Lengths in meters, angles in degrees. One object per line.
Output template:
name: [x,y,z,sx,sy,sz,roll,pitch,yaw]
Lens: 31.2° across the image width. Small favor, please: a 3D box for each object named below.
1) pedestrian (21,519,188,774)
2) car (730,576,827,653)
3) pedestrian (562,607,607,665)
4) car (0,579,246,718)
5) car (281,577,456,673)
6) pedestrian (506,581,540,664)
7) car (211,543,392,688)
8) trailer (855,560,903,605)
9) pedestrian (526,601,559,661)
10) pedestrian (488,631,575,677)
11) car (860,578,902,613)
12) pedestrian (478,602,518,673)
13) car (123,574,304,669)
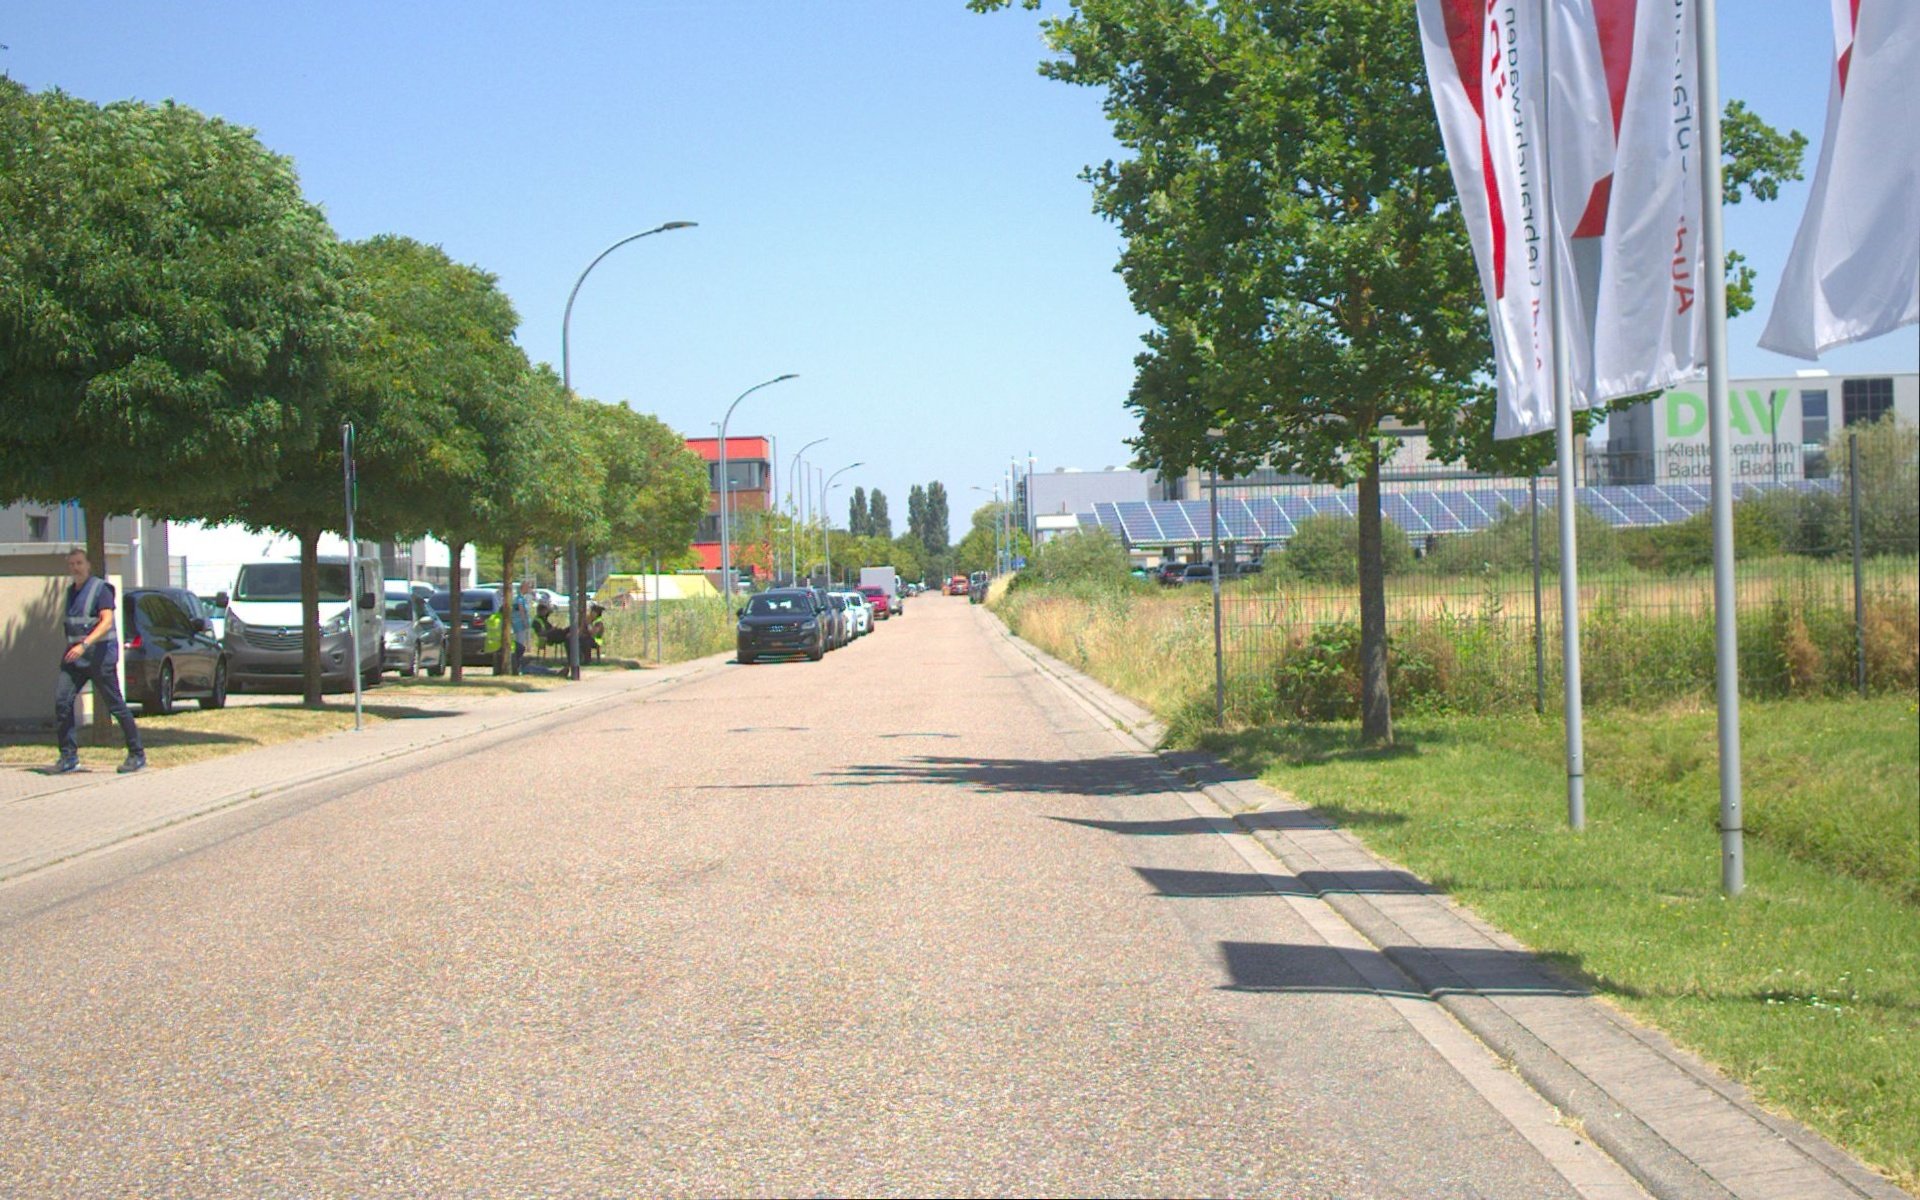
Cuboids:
pedestrian: [-6.740,0.352,27.083,0.842,1.966,0.962,0,0,40]
car: [-3.919,0.290,74.765,1.926,1.562,4.190,-2,1,-1]
pedestrian: [-7.342,0.701,67.318,0.750,1.095,0.646,1,0,4]
car: [-9.626,0.509,39.651,1.765,1.448,4.714,-2,0,0]
car: [-9.617,0.428,56.229,1.927,1.436,4.841,-2,-1,1]
pedestrian: [-8.496,0.435,66.857,0.506,1.590,0.753,1,0,2]
car: [-9.618,0.192,50.563,1.837,2.012,5.126,1,0,-2]
trailer: [-3.961,-0.860,168.846,2.201,2.130,4.285,-2,0,0]
pedestrian: [-8.297,0.613,68.336,0.506,1.187,0.753,1,0,2]
pedestrian: [-7.293,0.920,58.521,1.358,0.746,0.753,1,0,2]
car: [-3.592,-0.212,157.496,1.787,1.515,3.982,-2,0,0]
pedestrian: [-7.622,0.624,56.759,0.479,1.146,0.555,1,-2,10]
car: [-12.177,0.316,56.364,1.927,1.459,4.465,1,0,1]
